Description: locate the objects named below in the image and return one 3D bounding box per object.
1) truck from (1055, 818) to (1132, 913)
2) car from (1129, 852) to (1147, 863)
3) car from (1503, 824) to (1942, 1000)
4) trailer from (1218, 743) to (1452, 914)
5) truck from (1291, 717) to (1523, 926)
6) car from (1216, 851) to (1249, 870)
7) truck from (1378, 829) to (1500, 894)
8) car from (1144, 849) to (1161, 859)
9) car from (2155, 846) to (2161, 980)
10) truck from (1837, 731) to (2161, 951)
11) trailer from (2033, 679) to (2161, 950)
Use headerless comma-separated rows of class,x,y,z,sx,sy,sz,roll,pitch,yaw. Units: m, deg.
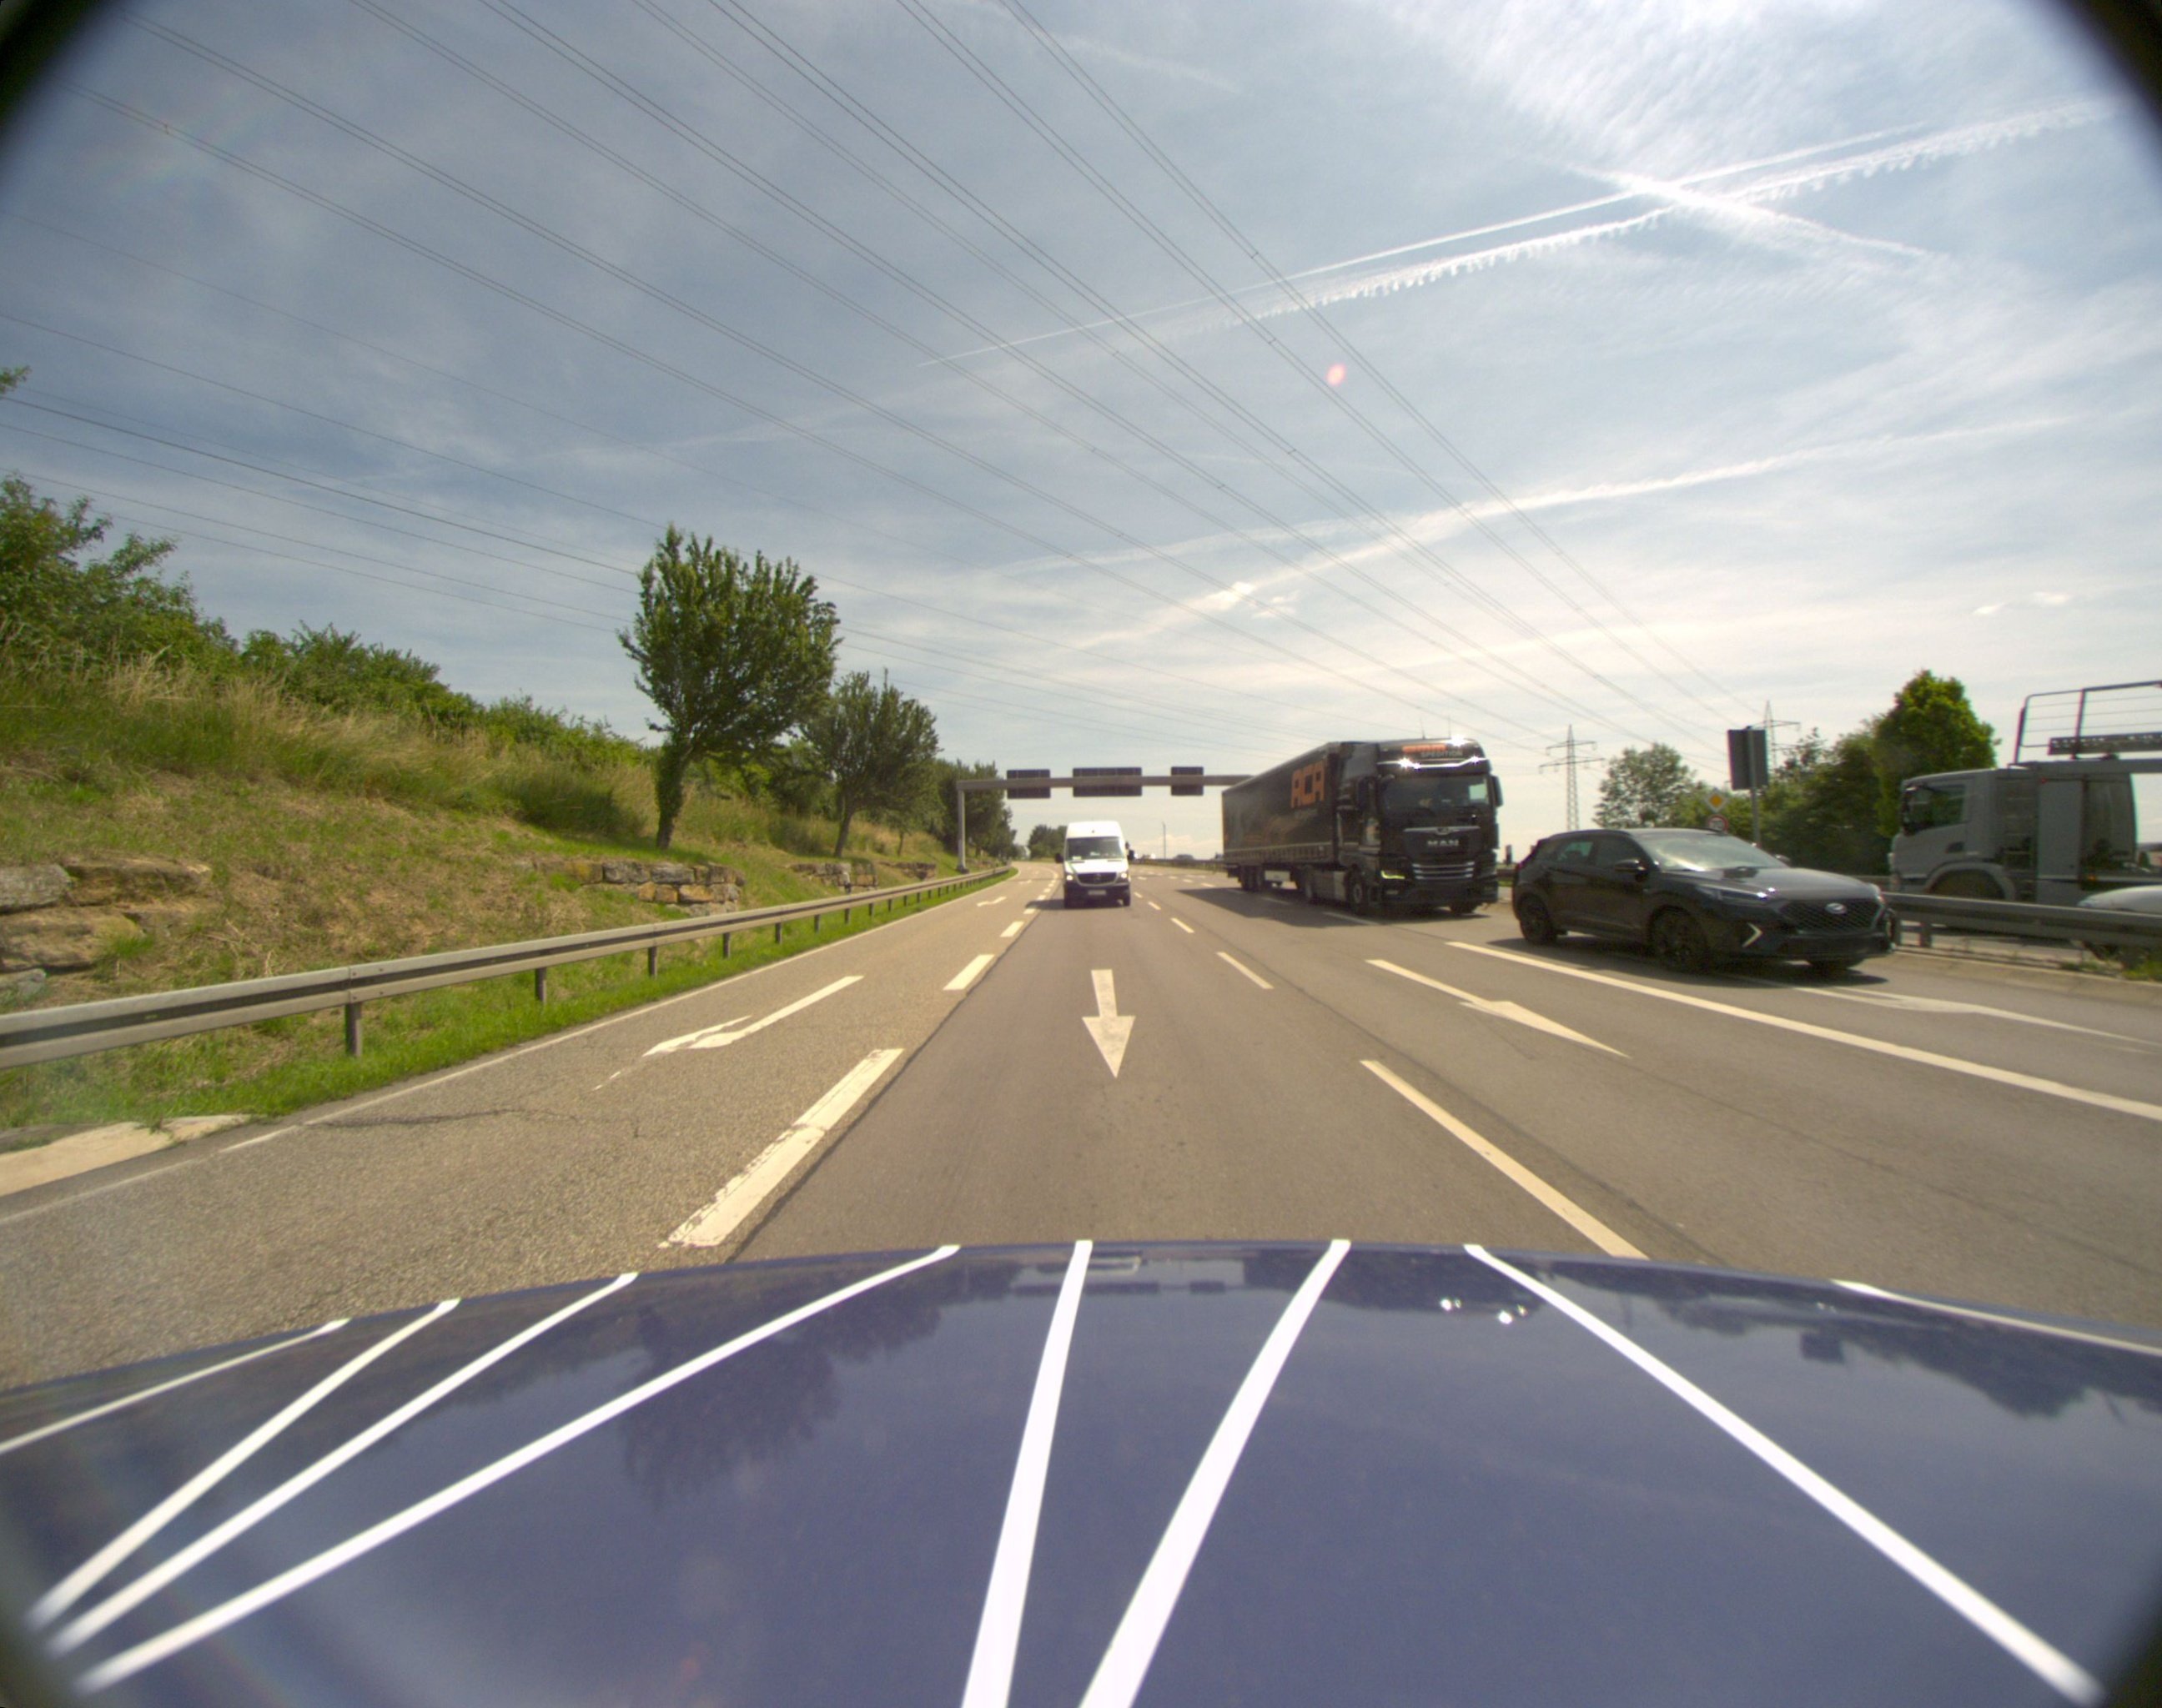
truck,0.361,0.298,23.047,1.998,2.518,5.104,-2,1,0
car,8.073,0.450,107.108,1.741,1.434,4.321,1,1,-6
car,7.437,0.553,9.549,1.860,1.648,4.348,-2,0,1
trailer,7.177,-0.639,24.620,2.790,3.891,13.784,-2,1,0
truck,7.222,-0.654,17.887,2.790,3.990,5.970,-2,1,0
car,12.308,0.499,61.978,1.740,1.495,4.323,1,1,-2
truck,12.877,0.200,27.702,1.972,2.145,4.620,-1,1,-5
car,10.311,0.015,109.851,1.519,1.472,3.701,1,0,-8
car,12.379,0.653,6.124,1.776,1.425,3.999,0,1,1
truck,16.211,-0.221,11.910,2.806,2.996,5.989,-1,1,1
trailer,16.055,-0.422,1.994,2.645,3.742,19.797,-1,1,1
